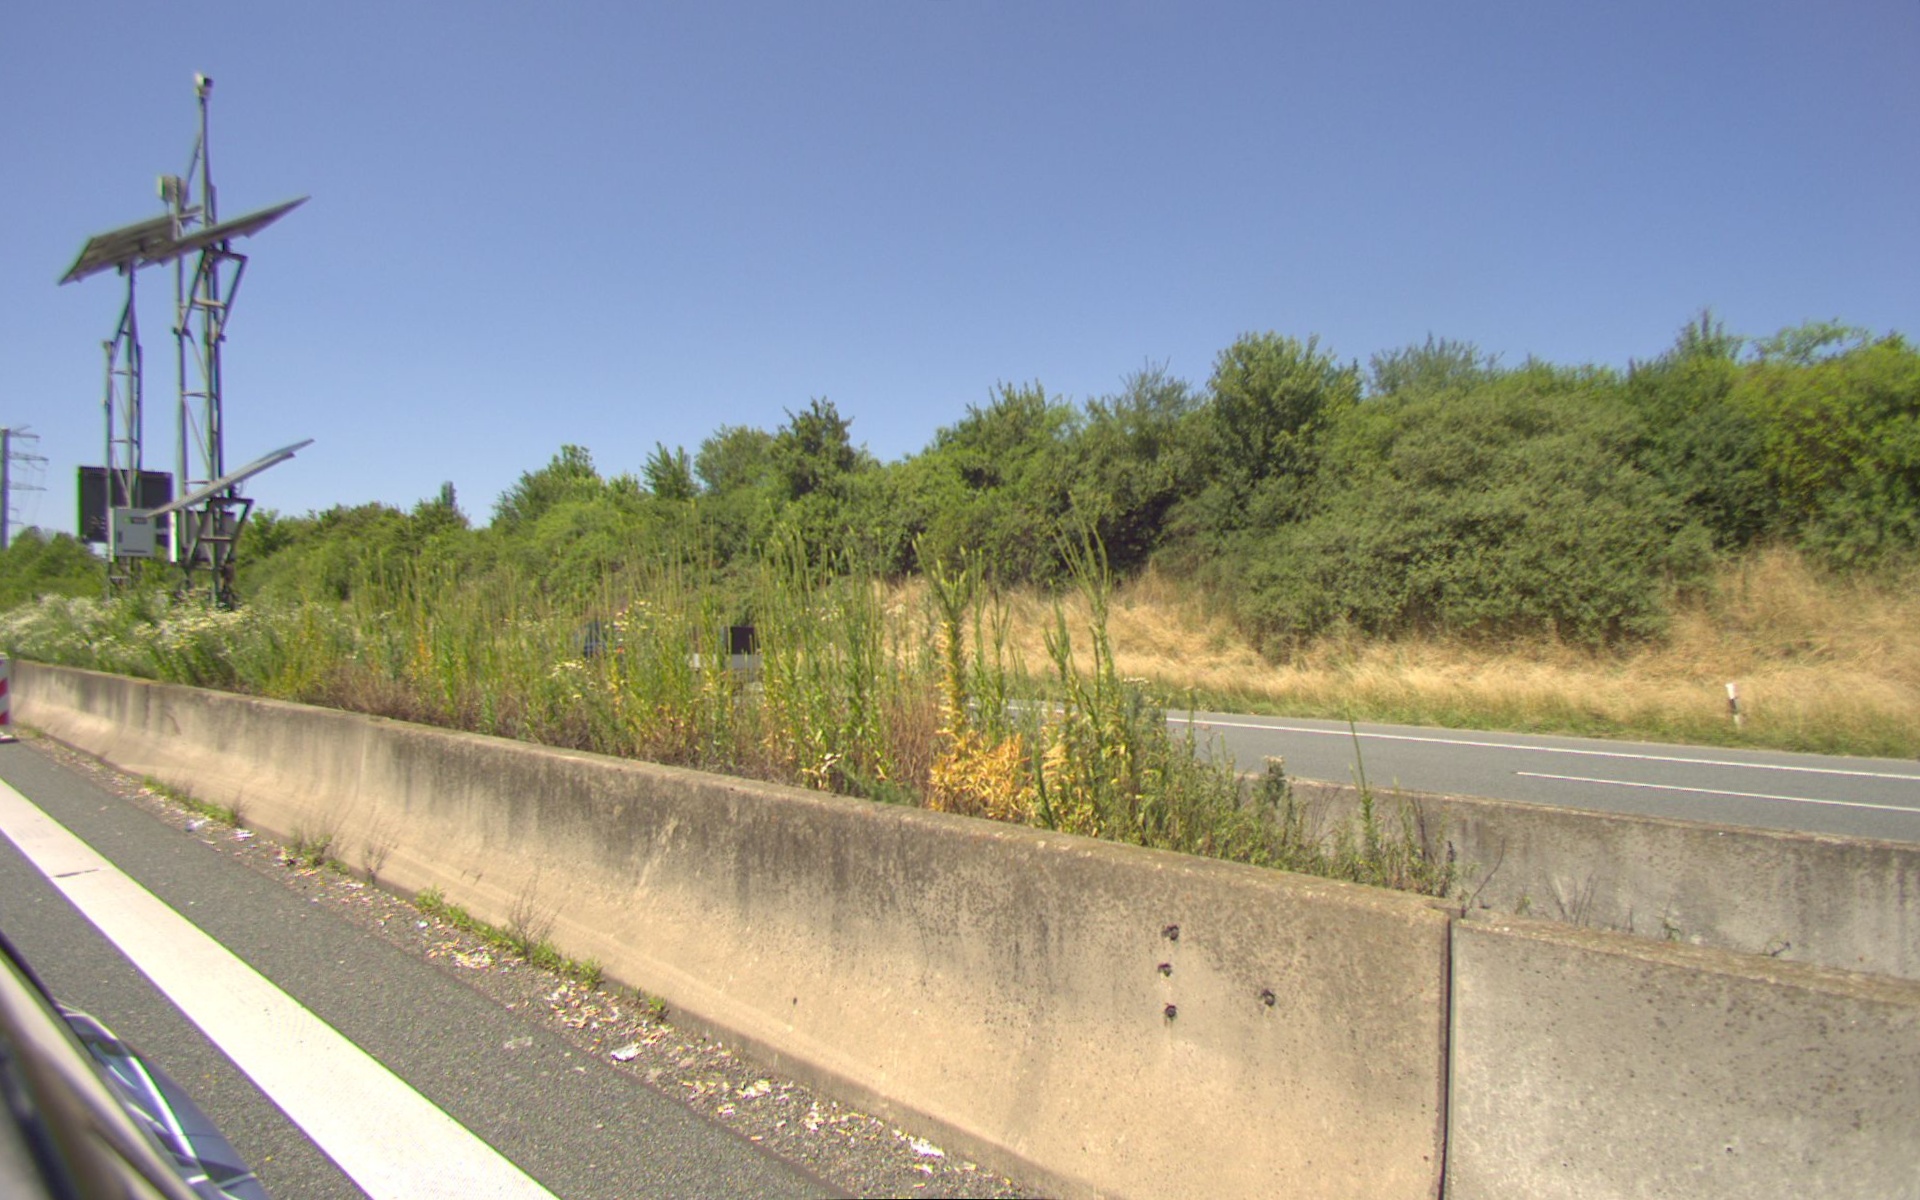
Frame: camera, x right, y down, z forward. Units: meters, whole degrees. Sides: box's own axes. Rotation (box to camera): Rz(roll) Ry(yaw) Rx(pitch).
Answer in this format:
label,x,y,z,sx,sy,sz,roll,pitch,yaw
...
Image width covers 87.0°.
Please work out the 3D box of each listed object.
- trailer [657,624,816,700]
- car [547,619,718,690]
label,x,y,z,sx,sy,sz,roll,pitch,yaw
trailer,-5.121,1.363,22.996,3.776,1.564,1.552,-1,-4,41
car,-8.393,1.353,25.735,4.627,1.662,1.973,-1,-4,41
